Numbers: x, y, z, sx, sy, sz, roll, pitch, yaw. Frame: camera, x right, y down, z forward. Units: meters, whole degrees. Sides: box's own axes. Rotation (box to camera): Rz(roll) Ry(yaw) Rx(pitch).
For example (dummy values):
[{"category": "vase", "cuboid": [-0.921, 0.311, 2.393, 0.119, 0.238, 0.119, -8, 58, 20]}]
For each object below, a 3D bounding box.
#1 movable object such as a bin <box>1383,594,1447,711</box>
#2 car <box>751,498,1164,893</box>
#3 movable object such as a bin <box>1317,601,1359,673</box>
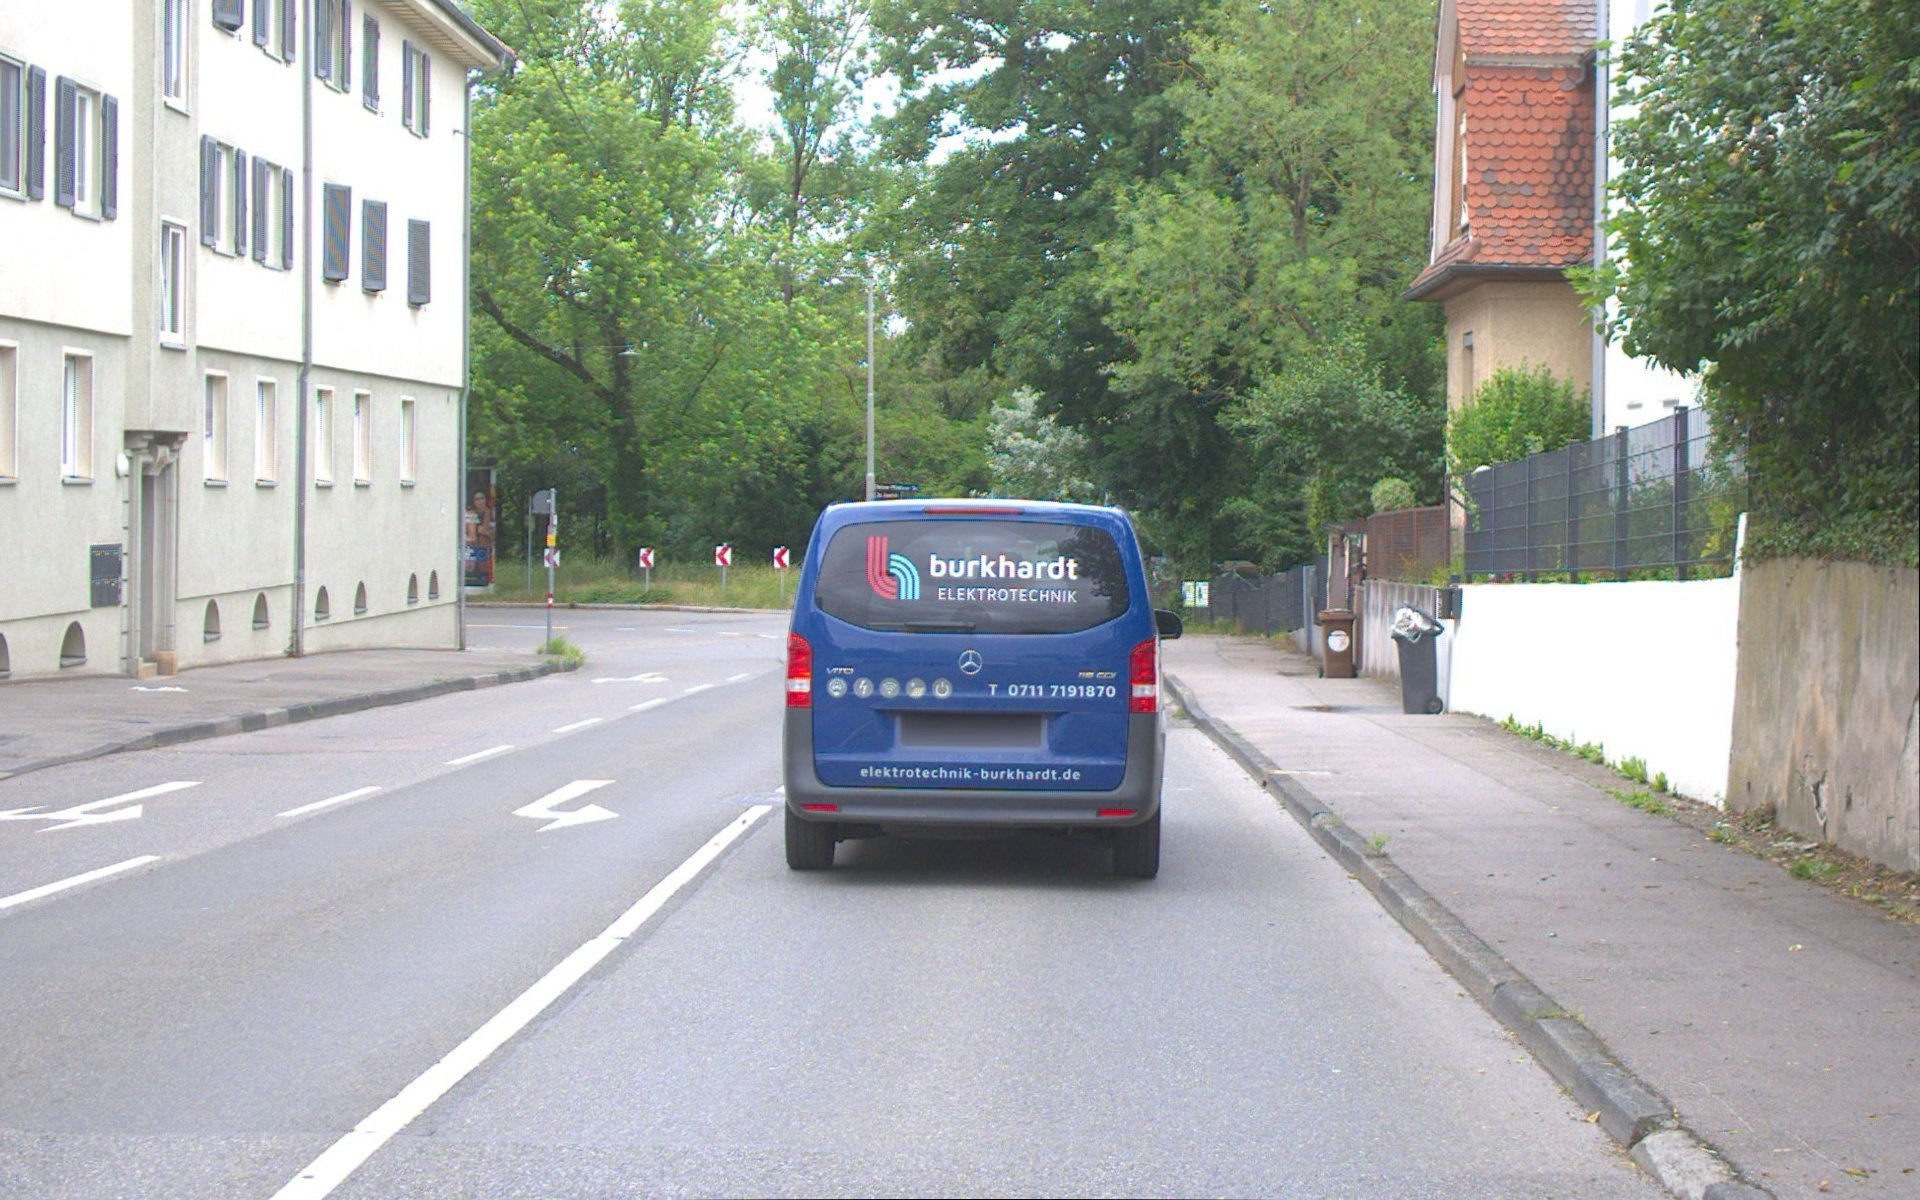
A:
[{"category": "movable object such as a bin", "cuboid": [4.716, 0.541, 35.661, 0.528, 1.174, 0.634, -3, 1, 1]}, {"category": "car", "cuboid": [-0.043, 0.421, 18.289, 1.913, 1.831, 4.294, 1, 1, -1]}, {"category": "movable object such as a bin", "cuboid": [5.050, 0.492, 46.004, 0.461, 0.921, 0.566, -3, 1, 1]}]
